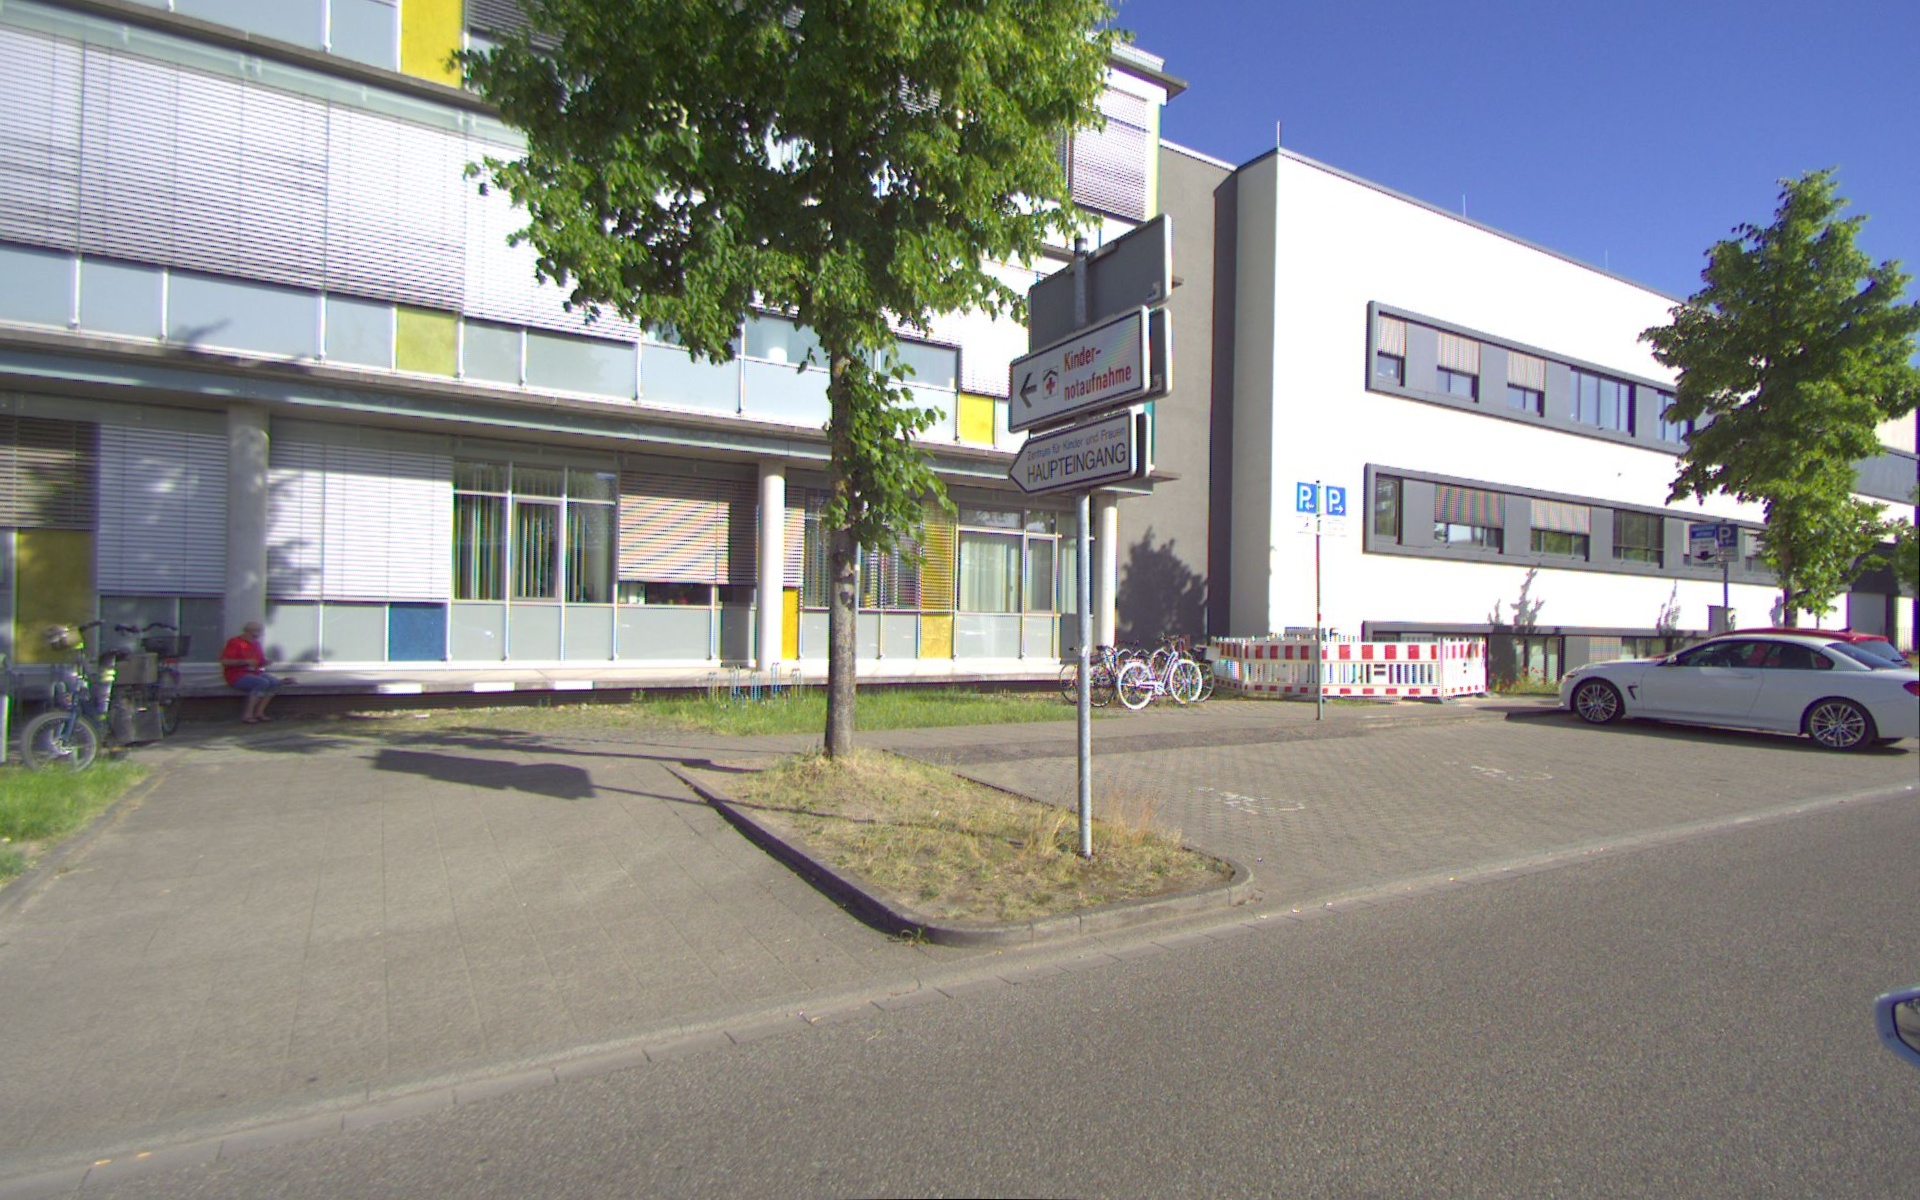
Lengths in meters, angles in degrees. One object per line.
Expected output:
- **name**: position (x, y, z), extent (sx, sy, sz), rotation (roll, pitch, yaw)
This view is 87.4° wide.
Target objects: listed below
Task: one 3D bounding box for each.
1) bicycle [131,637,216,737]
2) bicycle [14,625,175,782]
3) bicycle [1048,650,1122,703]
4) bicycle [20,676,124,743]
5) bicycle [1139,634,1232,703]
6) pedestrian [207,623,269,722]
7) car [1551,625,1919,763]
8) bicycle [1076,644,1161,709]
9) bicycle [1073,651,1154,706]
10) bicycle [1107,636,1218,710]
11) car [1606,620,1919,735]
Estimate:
- **bicycle**: position (-8.809, 0.937, 11.295), extent (0.530, 1.007, 1.706), rotation (1, -1, -31)
- **bicycle**: position (-7.030, 0.782, 8.240), extent (0.529, 1.136, 1.698), rotation (1, -1, -25)
- **bicycle**: position (2.224, 1.337, 17.736), extent (1.433, 0.884, 0.253), rotation (1, -1, -30)
- **bicycle**: position (-9.512, 1.151, 10.814), extent (0.530, 0.559, 1.706), rotation (1, -1, -31)
- **bicycle**: position (3.879, 1.154, 17.237), extent (1.743, 1.138, 0.418), rotation (1, -1, -30)
- **pedestrian**: position (-9.039, 0.895, 12.594), extent (0.549, 1.188, 0.529), rotation (1, 0, -30)
- **car**: position (10.955, 1.171, 13.899), extent (1.683, 1.386, 4.481), rotation (1, 2, -35)
- **bicycle**: position (2.578, 1.217, 16.264), extent (1.433, 1.002, 0.393), rotation (1, -1, -30)
- **bicycle**: position (2.576, 1.305, 16.836), extent (1.433, 0.874, 0.367), rotation (1, -1, -30)
- **bicycle**: position (3.253, 1.140, 16.042), extent (1.838, 1.126, 0.532), rotation (1, -1, -29)
- **car**: position (12.752, 1.139, 16.163), extent (1.595, 1.489, 3.616), rotation (1, 1, -31)
